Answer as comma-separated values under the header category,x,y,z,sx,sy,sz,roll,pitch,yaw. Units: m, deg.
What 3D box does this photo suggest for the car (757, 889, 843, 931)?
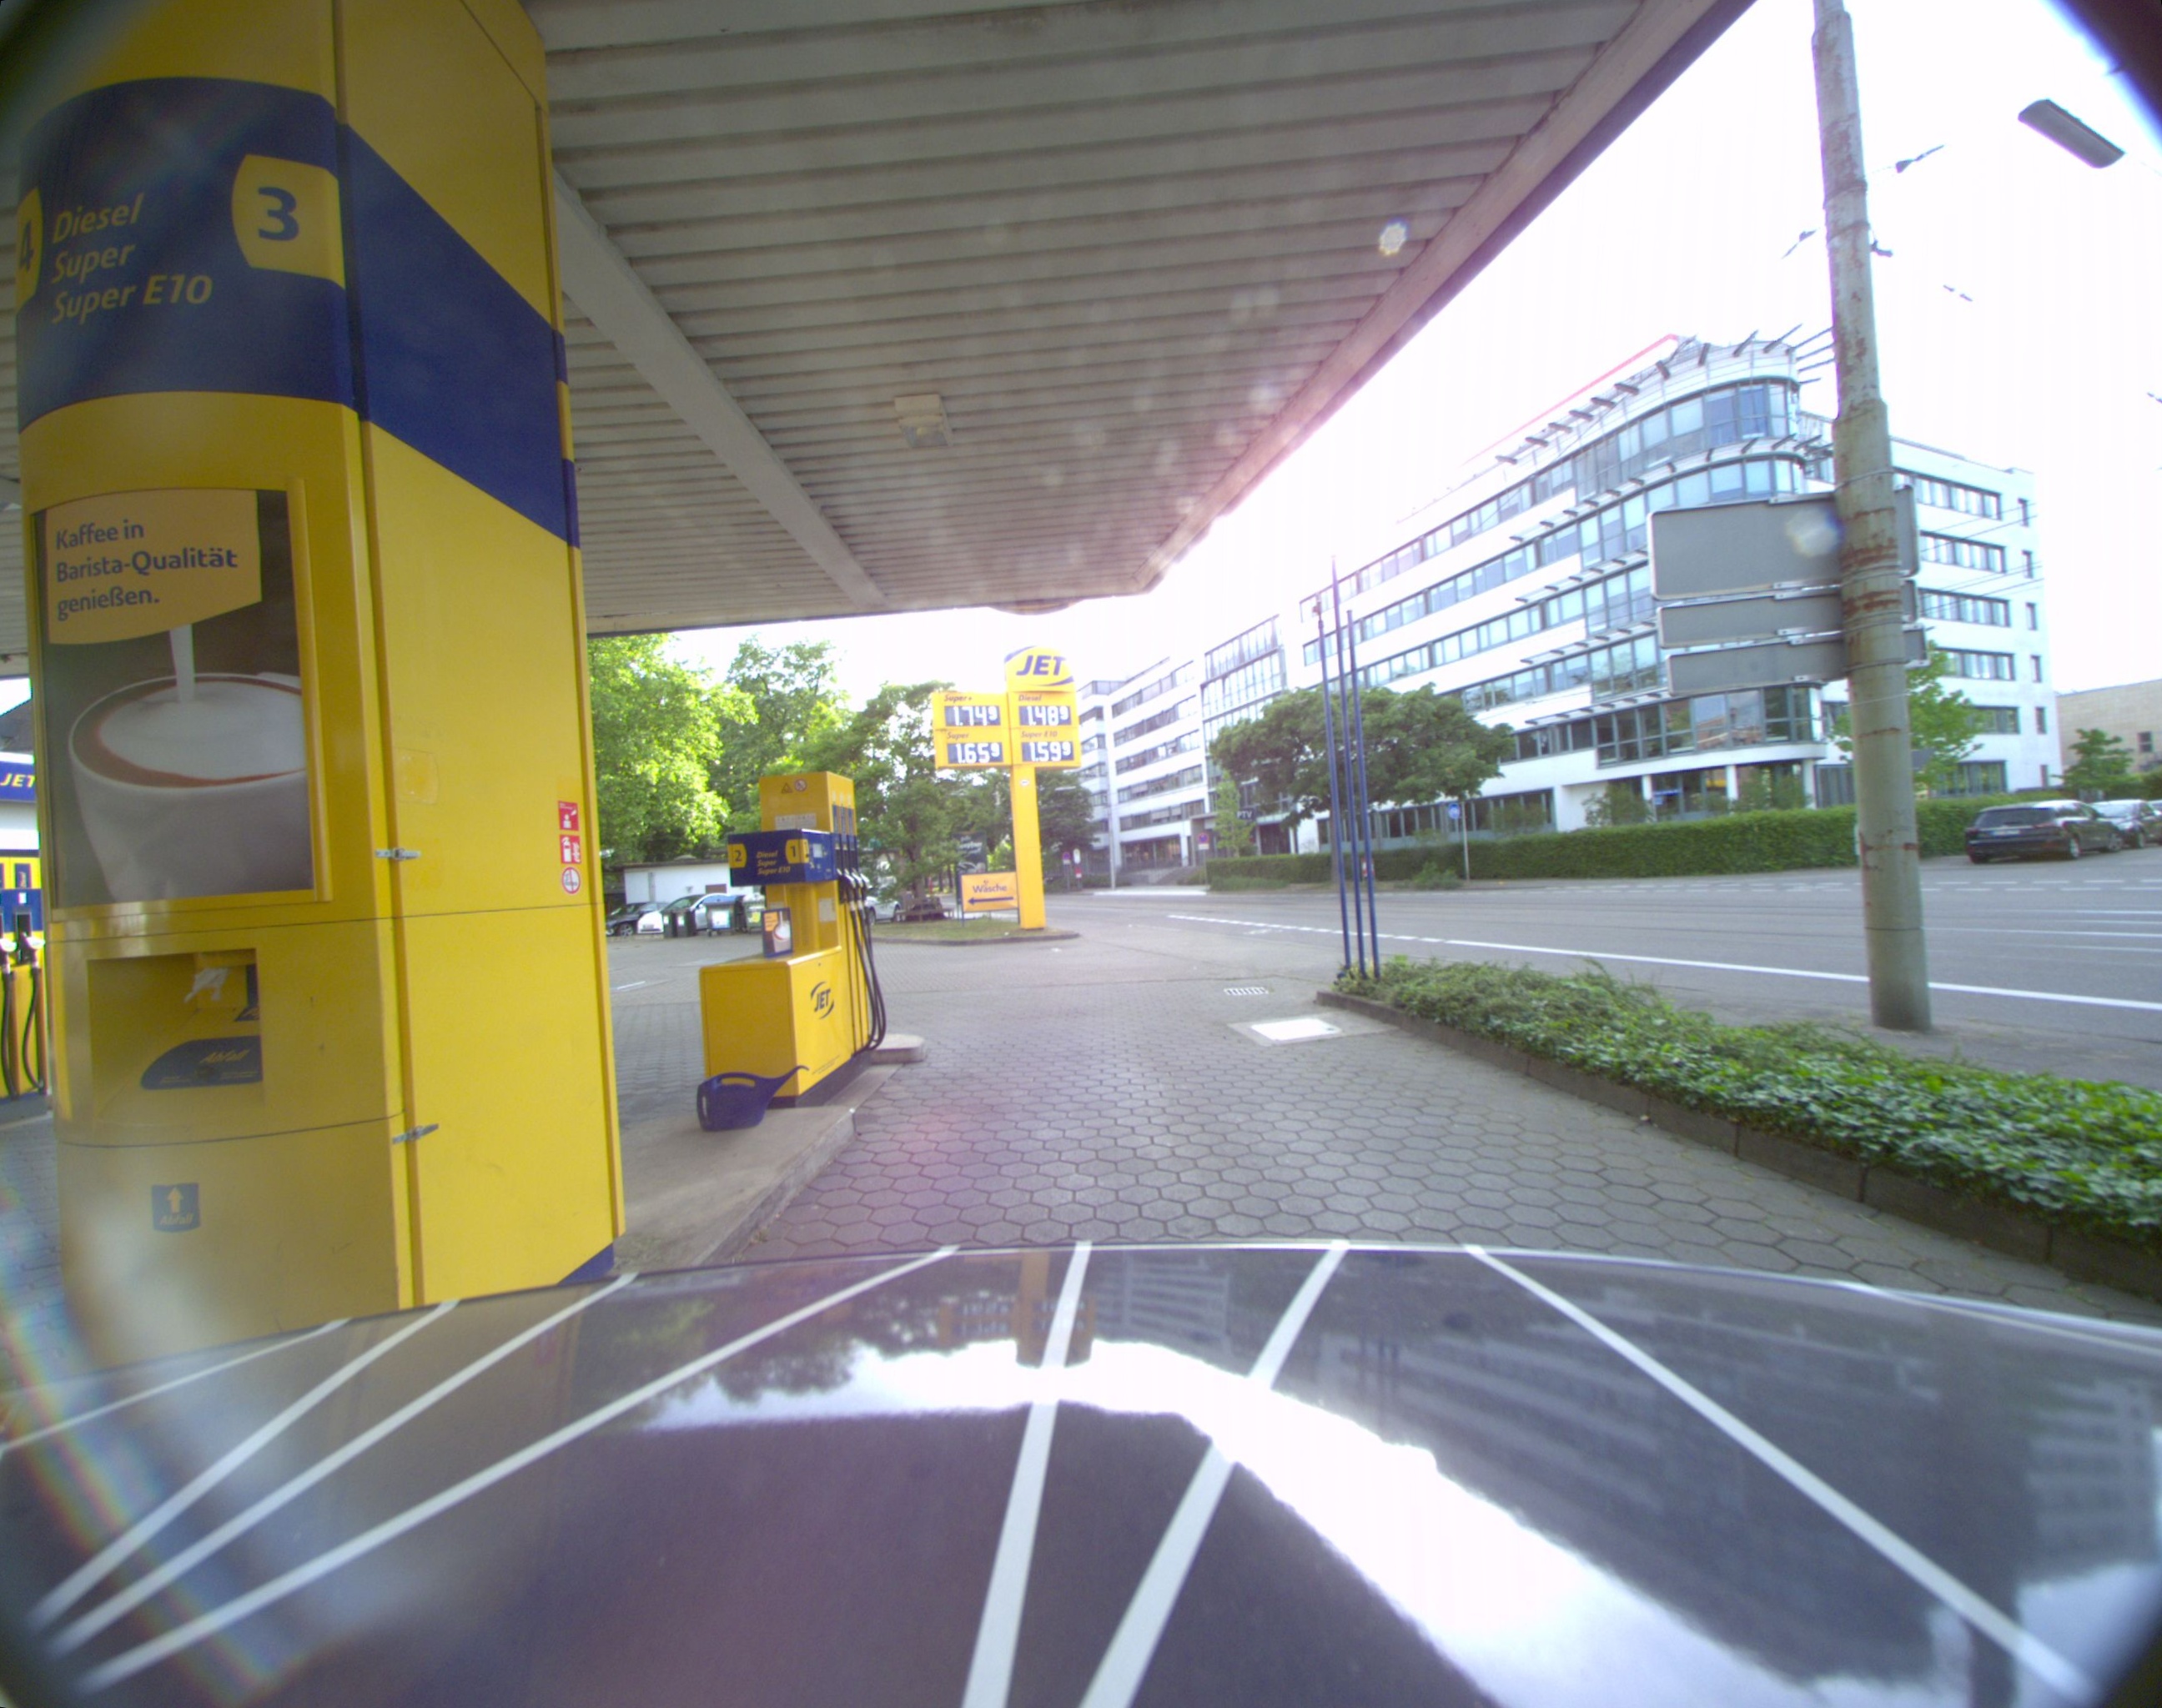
category,x,y,z,sx,sy,sz,roll,pitch,yaw
car,-11.805,2.324,32.244,1.739,1.500,4.004,-4,-2,6

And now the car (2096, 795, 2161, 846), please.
category,x,y,z,sx,sy,sz,roll,pitch,yaw
car,37.147,-1.234,26.079,4.109,1.544,1.786,-4,-1,-23

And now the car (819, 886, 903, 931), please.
category,x,y,z,sx,sy,sz,roll,pitch,yaw
car,-8.690,2.117,30.382,1.739,1.500,4.003,-4,-2,6

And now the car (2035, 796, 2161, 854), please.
category,x,y,z,sx,sy,sz,roll,pitch,yaw
car,32.488,-0.940,24.041,4.109,1.544,1.786,-4,-1,-23

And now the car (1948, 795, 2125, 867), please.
category,x,y,z,sx,sy,sz,roll,pitch,yaw
car,27.373,-0.648,21.770,4.438,1.603,1.976,-5,-1,-23

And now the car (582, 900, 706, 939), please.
category,x,y,z,sx,sy,sz,roll,pitch,yaw
car,-17.749,2.632,31.072,1.745,1.269,4.230,-5,-3,19

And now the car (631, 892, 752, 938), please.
category,x,y,z,sx,sy,sz,roll,pitch,yaw
car,-15.363,2.384,30.256,1.785,1.514,4.229,-4,-3,17
